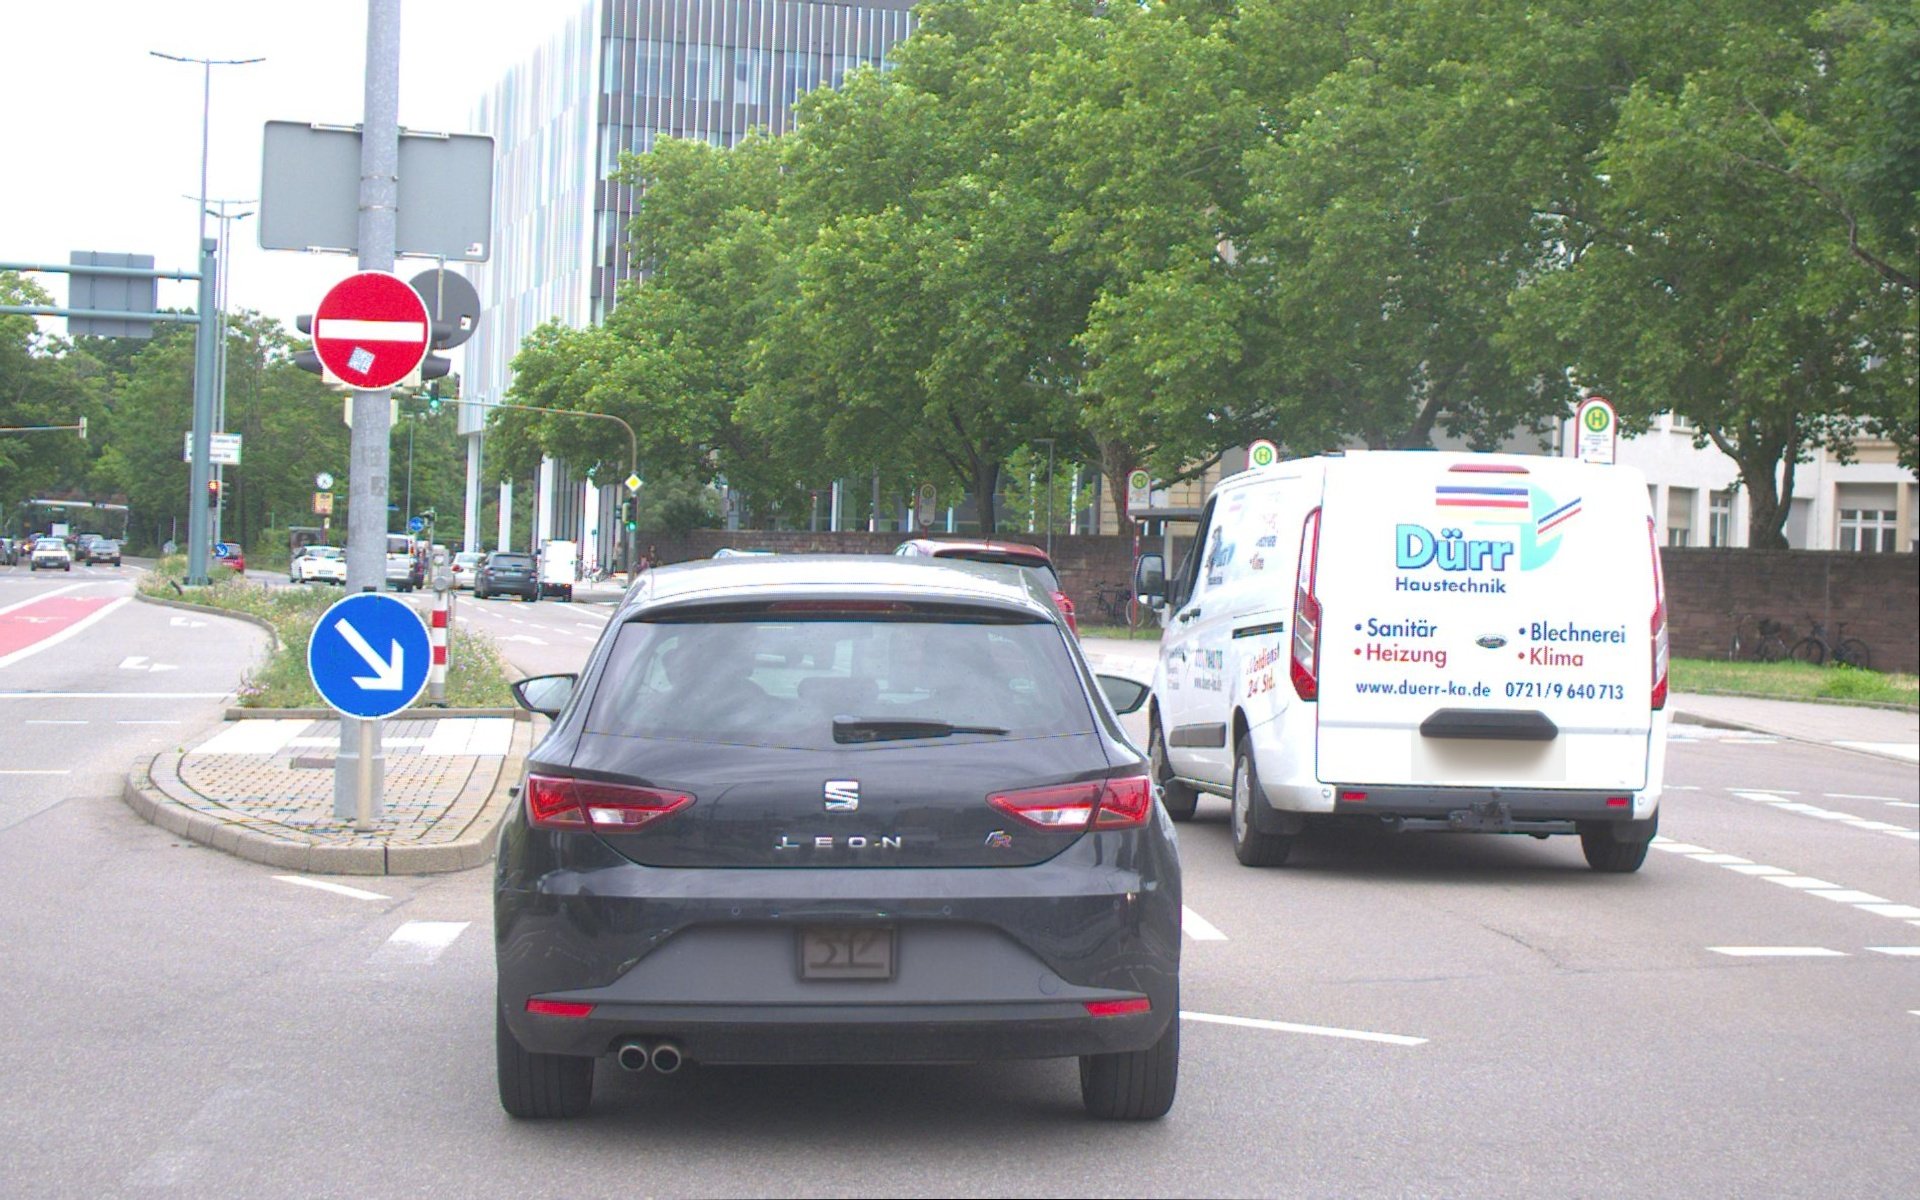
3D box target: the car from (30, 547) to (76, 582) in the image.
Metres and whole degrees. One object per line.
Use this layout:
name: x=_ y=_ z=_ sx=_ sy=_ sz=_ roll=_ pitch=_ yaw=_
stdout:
car: x=-39.826 y=-1.568 z=150.919 sx=1.686 sy=1.411 sz=3.645 roll=2 pitch=1 yaw=-19

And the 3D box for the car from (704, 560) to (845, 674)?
car: x=-2.869 y=0.220 z=52.400 sx=1.993 sy=1.560 sz=4.206 roll=2 pitch=1 yaw=-4

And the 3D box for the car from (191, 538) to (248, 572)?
car: x=-29.368 y=-1.792 z=136.311 sx=1.711 sy=1.261 sz=3.341 roll=2 pitch=1 yaw=-20

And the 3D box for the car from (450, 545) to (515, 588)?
car: x=-16.038 y=-1.132 z=115.388 sx=1.525 sy=1.360 sz=2.970 roll=2 pitch=1 yaw=-20

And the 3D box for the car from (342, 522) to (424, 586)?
car: x=-18.820 y=-1.514 z=111.996 sx=1.993 sy=2.007 sz=4.001 roll=2 pitch=1 yaw=-18

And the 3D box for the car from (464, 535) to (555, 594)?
car: x=-13.634 y=-1.079 z=103.877 sx=1.917 sy=1.678 sz=4.001 roll=2 pitch=1 yaw=-19

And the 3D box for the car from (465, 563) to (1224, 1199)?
car: x=-0.415 y=0.682 z=10.002 sx=1.745 sy=1.459 sz=4.000 roll=-1 pitch=-1 yaw=-4

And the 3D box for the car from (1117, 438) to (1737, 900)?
car: x=2.213 y=0.262 z=17.902 sx=1.993 sy=2.012 sz=5.033 roll=2 pitch=1 yaw=-6

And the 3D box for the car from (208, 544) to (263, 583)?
car: x=-33.385 y=-1.691 z=158.349 sx=1.993 sy=1.676 sz=4.012 roll=2 pitch=1 yaw=-18

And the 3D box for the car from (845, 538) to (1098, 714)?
car: x=0.044 y=0.212 z=34.734 sx=1.857 sy=1.595 sz=4.206 roll=2 pitch=1 yaw=-9

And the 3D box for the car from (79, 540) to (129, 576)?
car: x=-45.255 y=-2.238 z=181.752 sx=1.993 sy=1.774 sz=4.001 roll=2 pitch=1 yaw=-22

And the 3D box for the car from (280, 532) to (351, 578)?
car: x=-24.459 y=-1.733 z=130.359 sx=1.993 sy=1.634 sz=4.001 roll=2 pitch=1 yaw=-20
